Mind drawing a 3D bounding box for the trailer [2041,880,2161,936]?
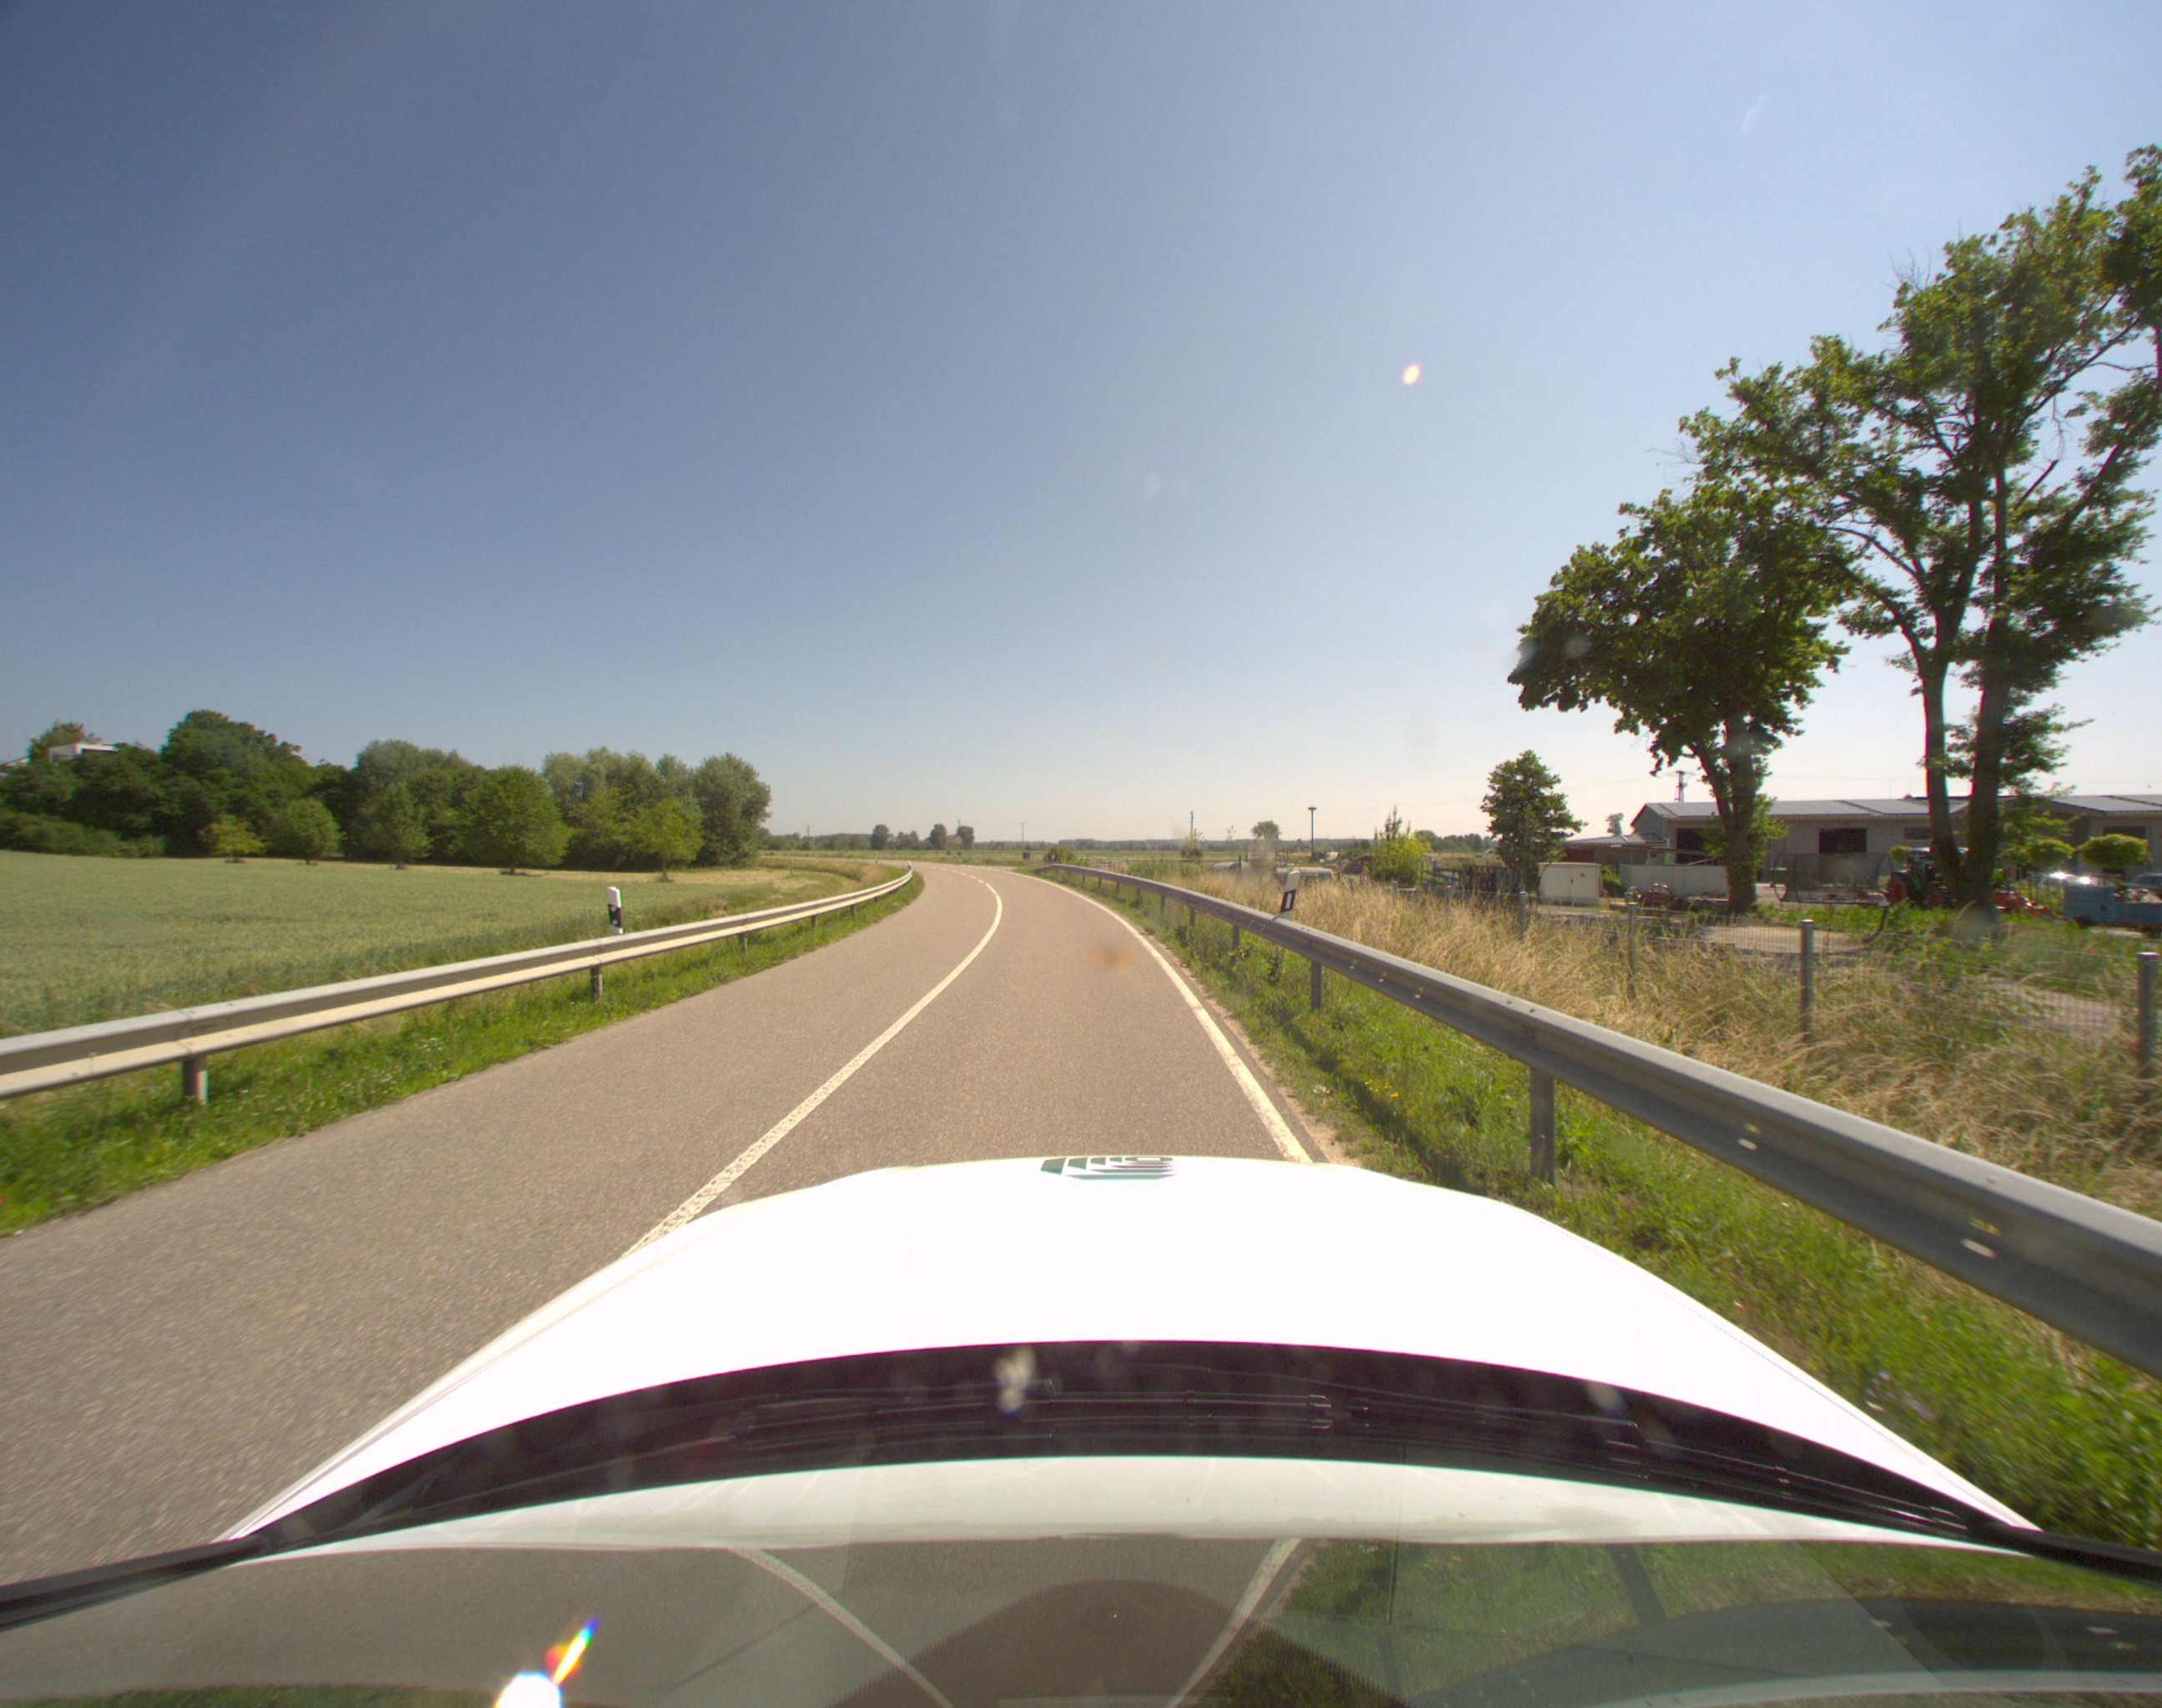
[{"bbox_3d":[29.773,1.540,23.679,1.694,1.496,3.160,0,-2,36],"label":"trailer"}]

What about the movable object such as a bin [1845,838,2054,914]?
[{"bbox_3d":[35.669,0.807,33.862,2.980,2.769,6.532,2,1,16],"label":"movable object such as a bin"}]

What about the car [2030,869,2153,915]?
[{"bbox_3d":[44.026,1.619,35.612,1.975,1.574,3.901,1,4,29],"label":"car"}]
